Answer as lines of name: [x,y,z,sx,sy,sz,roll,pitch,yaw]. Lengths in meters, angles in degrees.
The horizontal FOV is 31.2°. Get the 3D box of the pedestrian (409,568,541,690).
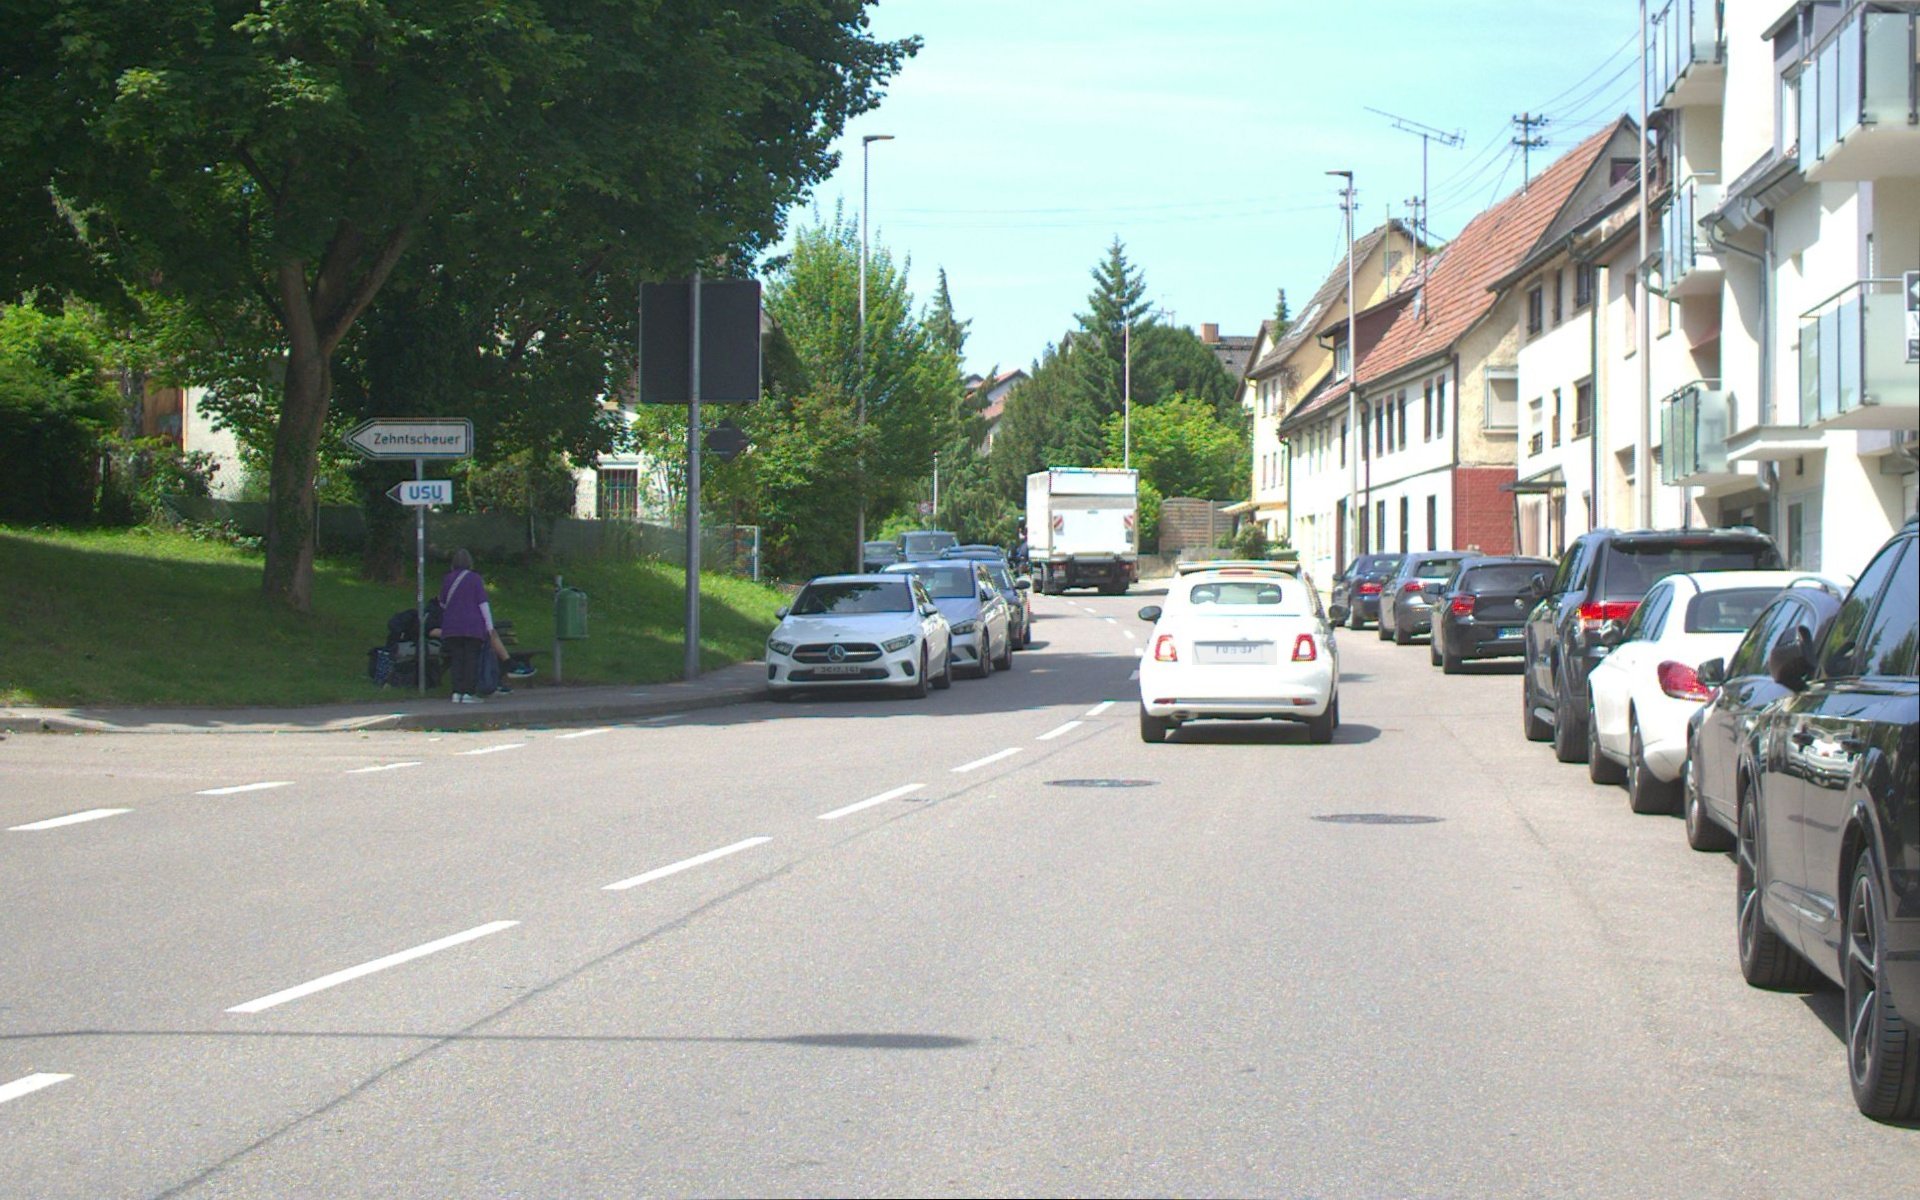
pedestrian: [-5.220,0.304,37.014,1.237,1.265,0.646,2,0,11]

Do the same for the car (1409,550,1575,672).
car: [6.622,0.112,43.151,1.797,1.420,4.289,-1,0,5]

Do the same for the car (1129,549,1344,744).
car: [2.455,0.350,30.057,1.725,1.555,3.999,1,1,6]

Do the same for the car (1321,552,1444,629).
car: [7.698,-0.198,62.947,1.666,1.348,4.187,0,1,-1]

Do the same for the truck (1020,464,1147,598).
truck: [3.558,-1.965,101.180,3.068,3.761,7.868,-1,0,-3]

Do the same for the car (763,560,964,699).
car: [-1.068,0.303,40.267,1.755,1.462,4.362,-2,1,6]

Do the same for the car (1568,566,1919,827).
car: [5.026,0.531,21.995,1.789,1.450,4.716,0,1,5]

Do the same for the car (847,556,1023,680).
car: [-0.285,0.208,46.176,1.773,1.522,4.221,-2,1,7]

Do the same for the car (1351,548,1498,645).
car: [7.238,-0.086,53.928,1.794,1.398,4.412,-1,1,2]

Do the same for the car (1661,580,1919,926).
car: [4.488,0.640,16.740,1.789,1.415,4.357,0,1,7]

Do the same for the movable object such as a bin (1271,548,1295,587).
movable object such as a bin: [8.902,-0.897,94.754,0.546,1.030,0.551,-3,1,-2]

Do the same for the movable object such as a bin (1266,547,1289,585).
movable object such as a bin: [8.917,-0.951,96.580,0.546,1.030,0.551,-3,1,-2]

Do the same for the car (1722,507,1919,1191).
car: [3.520,0.614,10.557,1.844,1.664,4.654,1,0,7]

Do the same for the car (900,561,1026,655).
car: [0.093,0.099,57.869,1.805,1.419,4.927,-1,1,3]

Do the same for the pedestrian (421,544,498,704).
pedestrian: [-5.137,0.241,35.244,0.730,1.611,0.629,1,0,-10]

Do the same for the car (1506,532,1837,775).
car: [5.486,0.339,27.066,1.954,1.710,4.716,1,1,5]
